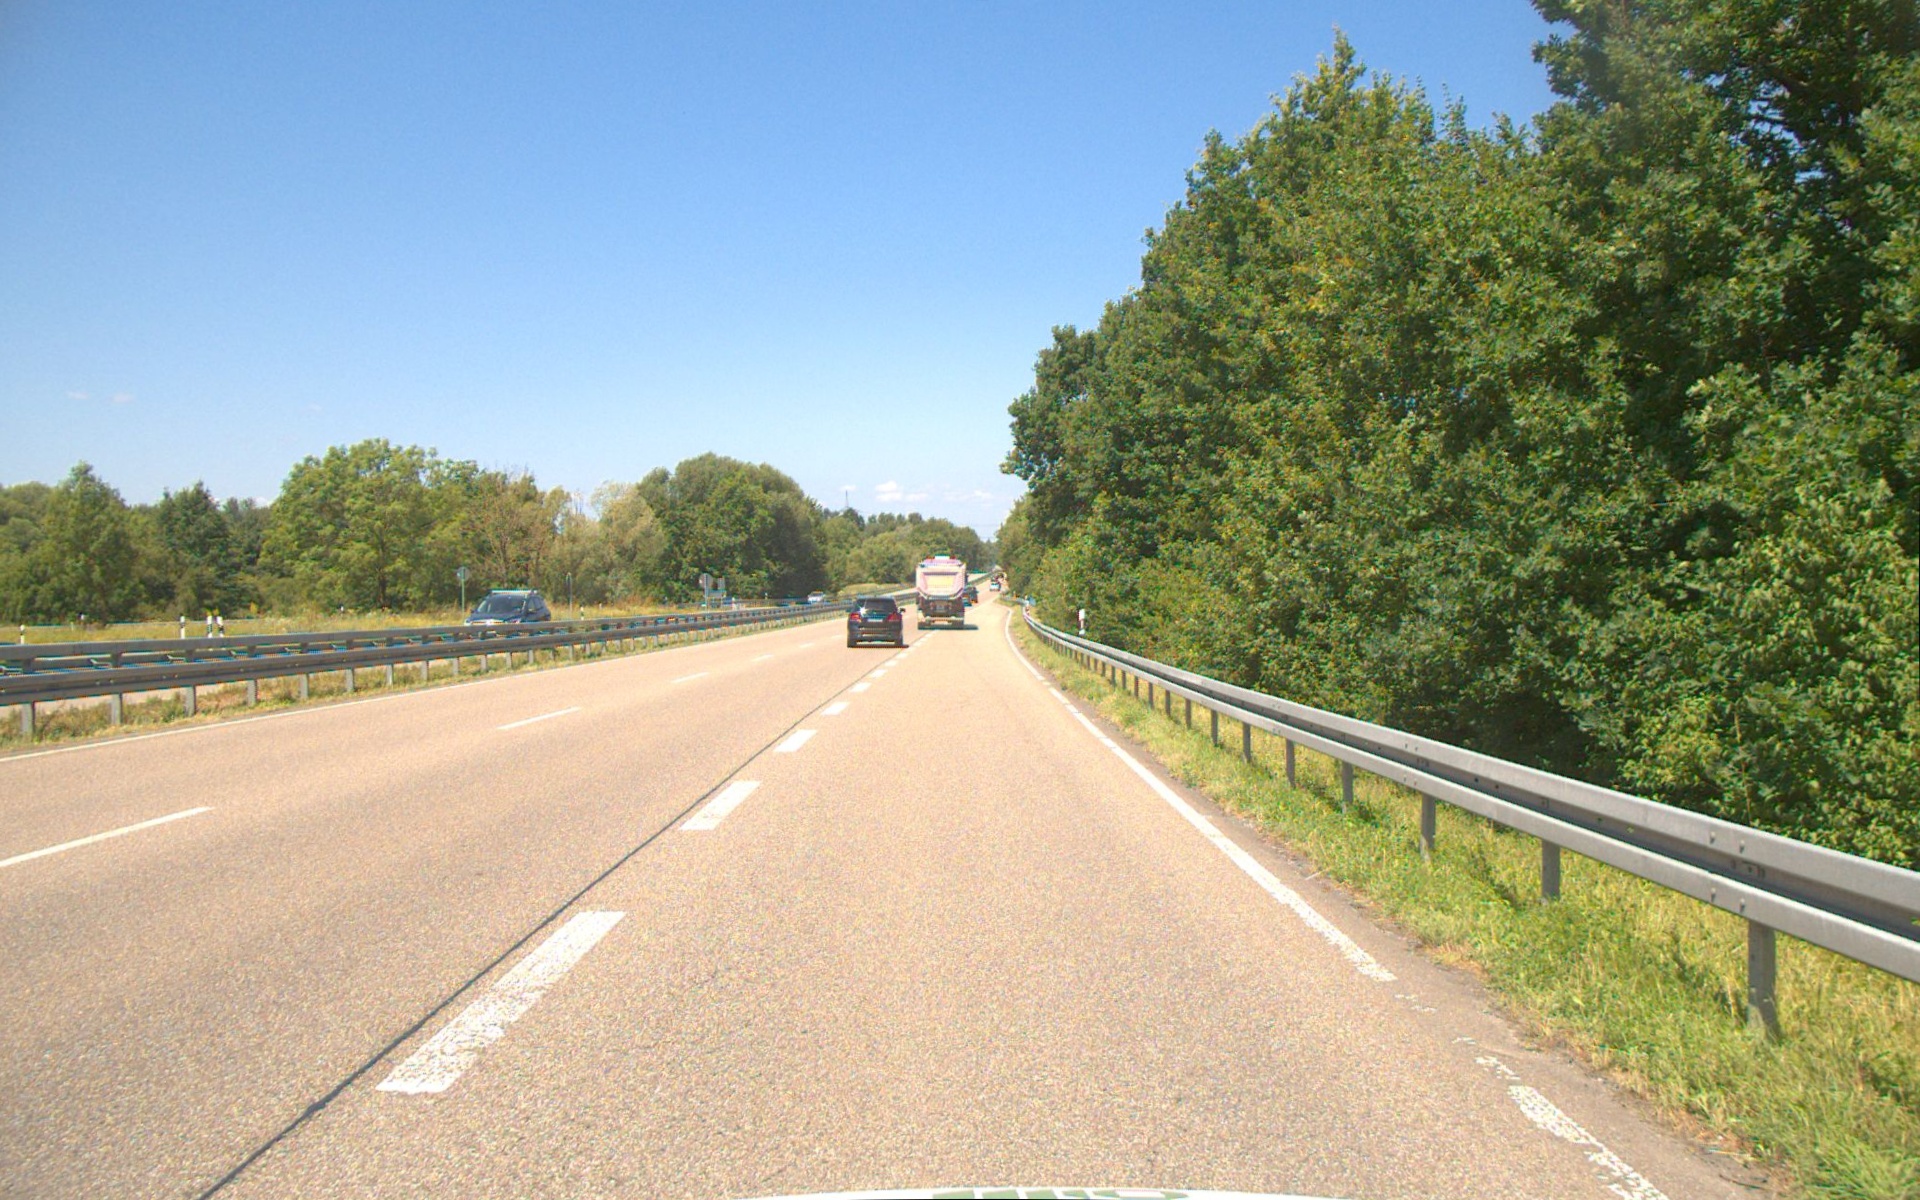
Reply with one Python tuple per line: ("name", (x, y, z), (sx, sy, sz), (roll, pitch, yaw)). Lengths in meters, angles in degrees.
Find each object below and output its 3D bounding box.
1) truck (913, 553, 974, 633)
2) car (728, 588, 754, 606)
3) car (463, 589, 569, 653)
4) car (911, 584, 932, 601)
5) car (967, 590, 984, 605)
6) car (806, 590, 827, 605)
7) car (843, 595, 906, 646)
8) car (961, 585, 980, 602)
("truck", (-0.779, -0.487, 89.593), (2.663, 3.998, 12.375), (0, 1, 2))
("car", (-18.082, -0.235, 136.591), (1.880, 1.515, 3.997), (0, 0, -3))
("car", (-13.329, 0.612, 49.940), (1.824, 1.862, 4.661), (0, 0, 1))
("car", (-3.851, -0.750, 166.642), (1.819, 1.700, 4.001), (0, 0, 2))
("car", (1.776, -0.294, 185.470), (1.819, 1.700, 4.001), (0, 0, 2))
("car", (-16.126, -0.259, 185.926), (1.688, 1.673, 4.944), (0, 0, 2))
("car", (-2.923, 0.680, 57.076), (1.819, 1.700, 4.001), (0, 0, 2))
("car", (1.091, -0.645, 167.589), (1.819, 1.700, 4.001), (0, 0, 2))
